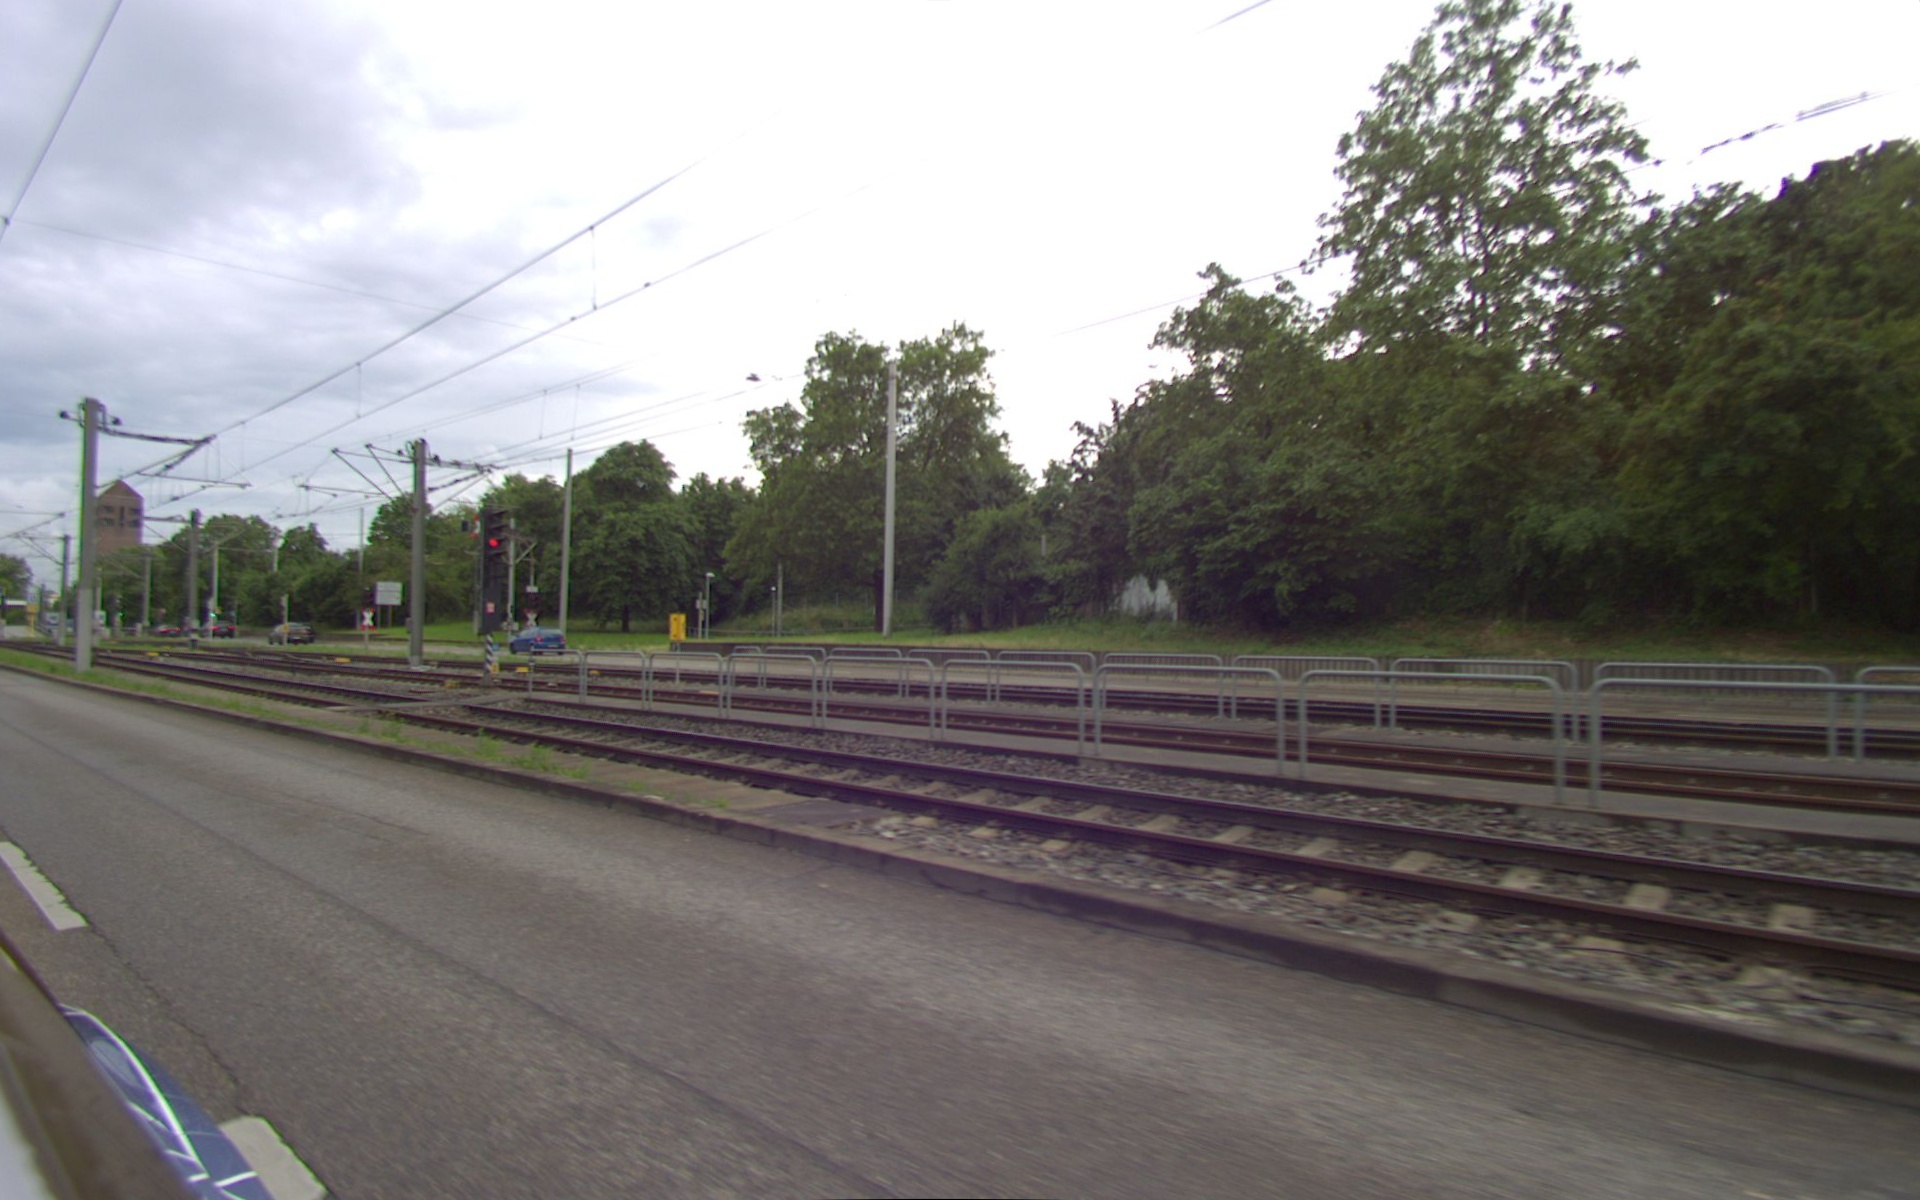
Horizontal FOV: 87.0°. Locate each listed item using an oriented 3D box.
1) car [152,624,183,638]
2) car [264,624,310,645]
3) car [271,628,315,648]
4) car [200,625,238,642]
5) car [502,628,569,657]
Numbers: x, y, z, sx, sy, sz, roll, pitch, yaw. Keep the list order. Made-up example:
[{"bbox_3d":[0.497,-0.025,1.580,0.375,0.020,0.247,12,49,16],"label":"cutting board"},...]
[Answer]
[{"bbox_3d":[-87.392,3.419,111.619,4.681,1.458,1.906,-1,-2,42],"label":"car"},{"bbox_3d":[-48.304,2.453,72.564,4.310,1.498,1.869,-1,-2,44],"label":"car"},{"bbox_3d":[-53.690,3.035,81.458,4.849,1.607,1.926,-1,-2,44],"label":"car"},{"bbox_3d":[-71.623,3.254,97.757,5.159,1.601,2.066,-1,-2,43],"label":"car"},{"bbox_3d":[-21.694,2.147,51.688,3.901,1.408,1.741,-1,-2,44],"label":"car"}]
